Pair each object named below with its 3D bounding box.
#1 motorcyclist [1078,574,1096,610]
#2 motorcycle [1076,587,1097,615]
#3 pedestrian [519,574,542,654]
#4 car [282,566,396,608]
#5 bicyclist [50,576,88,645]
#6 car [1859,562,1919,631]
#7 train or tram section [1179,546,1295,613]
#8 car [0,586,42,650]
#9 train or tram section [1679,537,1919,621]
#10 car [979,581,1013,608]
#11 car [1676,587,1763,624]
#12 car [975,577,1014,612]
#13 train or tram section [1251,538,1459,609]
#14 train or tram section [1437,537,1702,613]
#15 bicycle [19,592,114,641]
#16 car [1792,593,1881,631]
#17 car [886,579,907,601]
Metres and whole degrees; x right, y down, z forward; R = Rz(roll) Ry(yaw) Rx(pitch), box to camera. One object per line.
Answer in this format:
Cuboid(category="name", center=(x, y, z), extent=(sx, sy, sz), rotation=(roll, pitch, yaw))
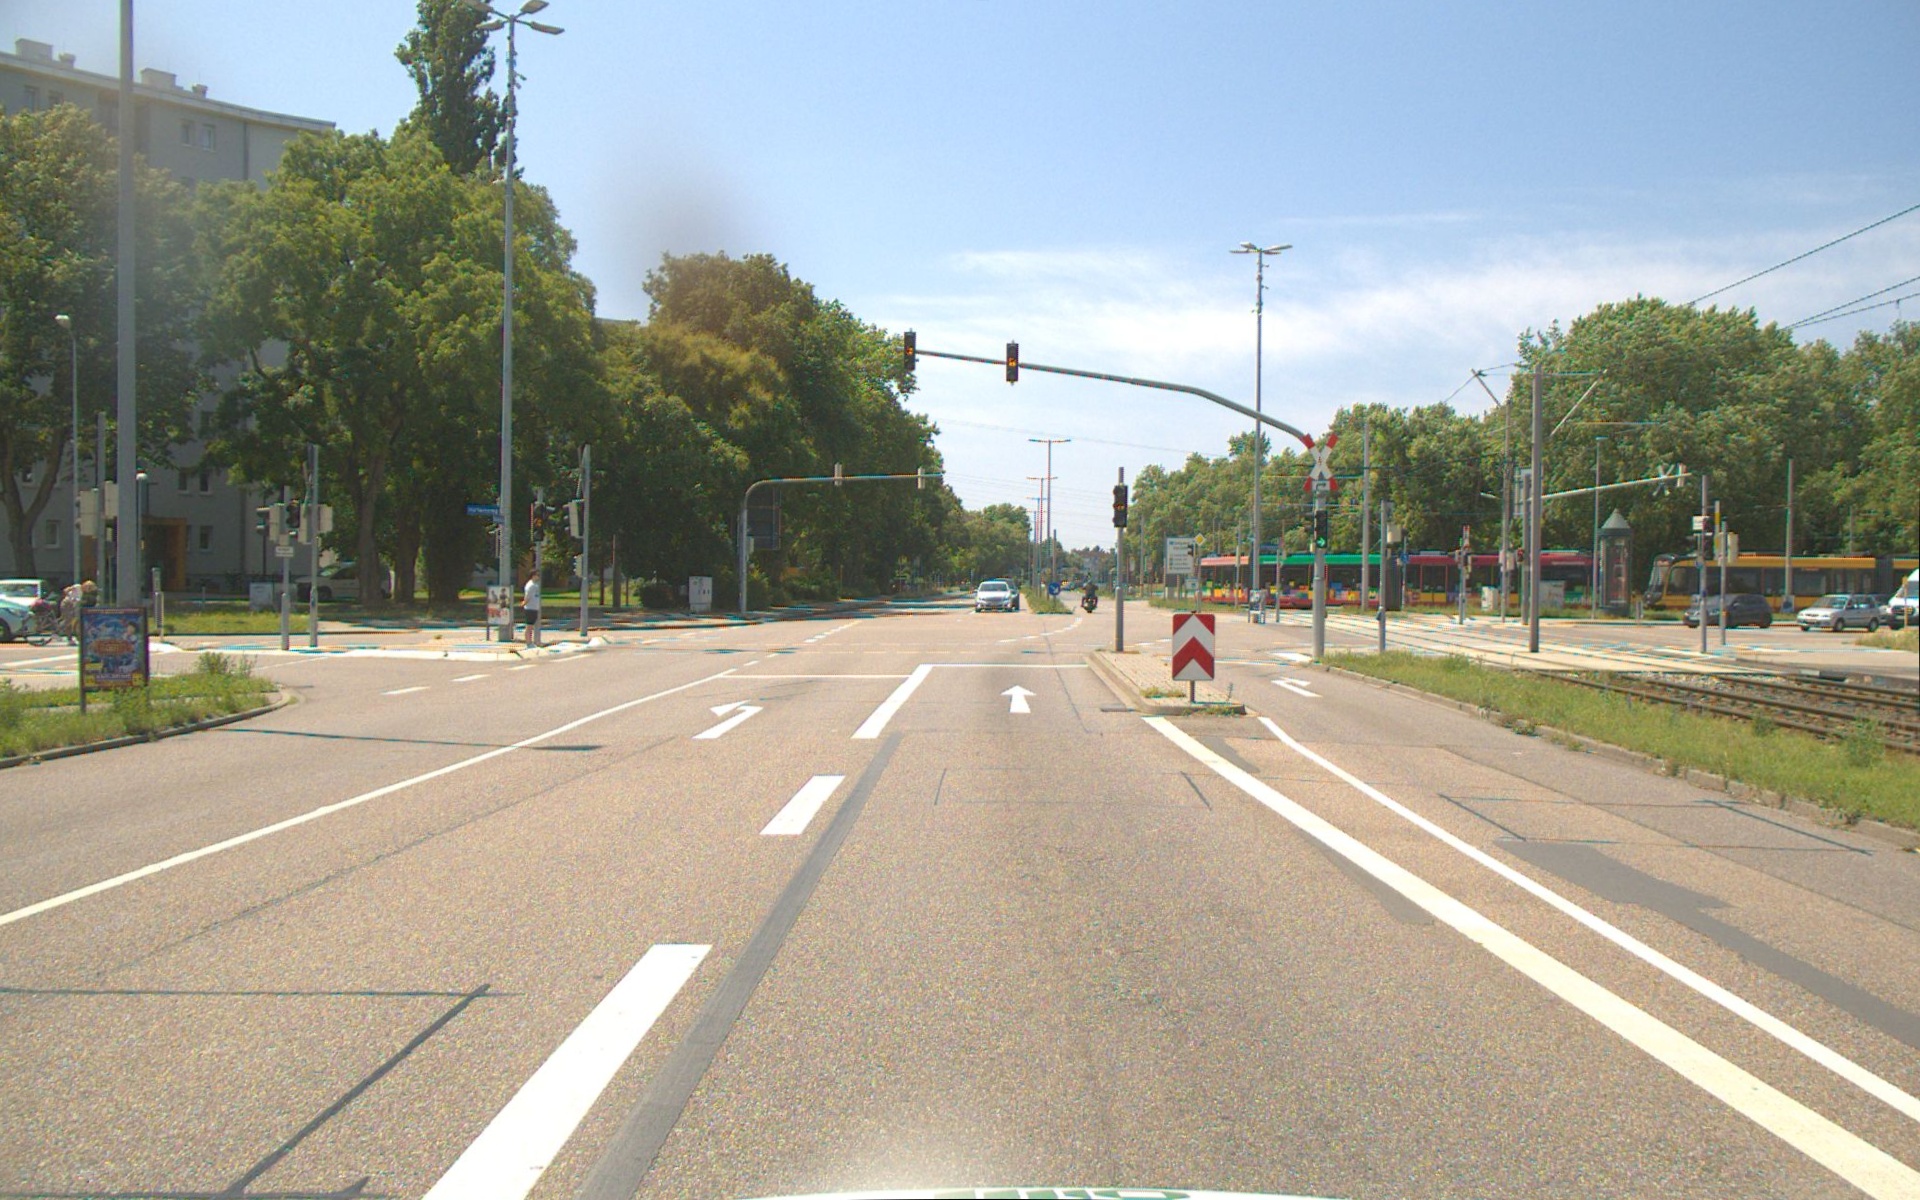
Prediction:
Cuboid(category="motorcyclist", center=(6.091, -0.388, 79.333), extent=(0.773, 1.671, 1.211), rotation=(2, 0, 2))
Cuboid(category="motorcycle", center=(6.053, 0.047, 79.282), extent=(0.829, 1.277, 2.450), rotation=(2, 0, 2))
Cuboid(category="pedestrian", center=(-9.327, 0.291, 35.904), extent=(0.374, 1.716, 0.486), rotation=(1, 0, -1))
Cuboid(category="car", center=(-27.762, -0.581, 74.028), extent=(1.760, 1.799, 4.521), rotation=(1, 1, 42))
Cuboid(category="bicyclist", center=(-20.435, 0.243, 37.934), extent=(0.654, 1.564, 0.627), rotation=(0, 0, -20))
Cuboid(category="car", center=(42.381, -0.146, 71.634), extent=(7.181, 2.851, 2.691), rotation=(0, 1, -30))
Cuboid(category="train or tram section", center=(18.454, -1.260, 111.448), extent=(2.864, 3.878, 13.028), rotation=(2, -2, -13))
Cuboid(category="car", center=(-24.091, 0.401, 39.237), extent=(3.831, 1.494, 1.764), rotation=(0, 1, -22))
Cuboid(category="train or tram section", center=(46.965, -1.091, 91.723), extent=(13.666, 3.988, 2.916), rotation=(2, -2, -10))
Cuboid(category="car", center=(1.934, -0.311, 88.013), extent=(1.675, 1.389, 3.867), rotation=(1, 1, 3))
Cuboid(category="car", center=(31.816, 0.224, 69.309), extent=(3.459, 1.488, 1.624), rotation=(0, 1, -29))
Cuboid(category="car", center=(1.694, -0.299, 80.559), extent=(1.747, 1.657, 3.867), rotation=(1, 1, 3))
Cuboid(category="train or tram section", center=(23.751, -1.477, 100.583), extent=(2.895, 3.878, 13.266), rotation=(4, -3, -39))
Cuboid(category="train or tram section", center=(34.065, -1.430, 92.897), extent=(13.711, 3.988, 2.923), rotation=(1, -2, 22))
Cuboid(category="bicycle", center=(-20.464, 0.373, 37.920), extent=(1.836, 1.112, 0.642), rotation=(0, 0, -20))
Cuboid(category="car", center=(35.886, 0.483, 67.695), extent=(3.758, 1.488, 1.622), rotation=(0, 1, -33))
Cuboid(category="car", center=(-6.597, -1.032, 171.571), extent=(1.953, 2.048, 3.999), rotation=(4, 0, -1))
